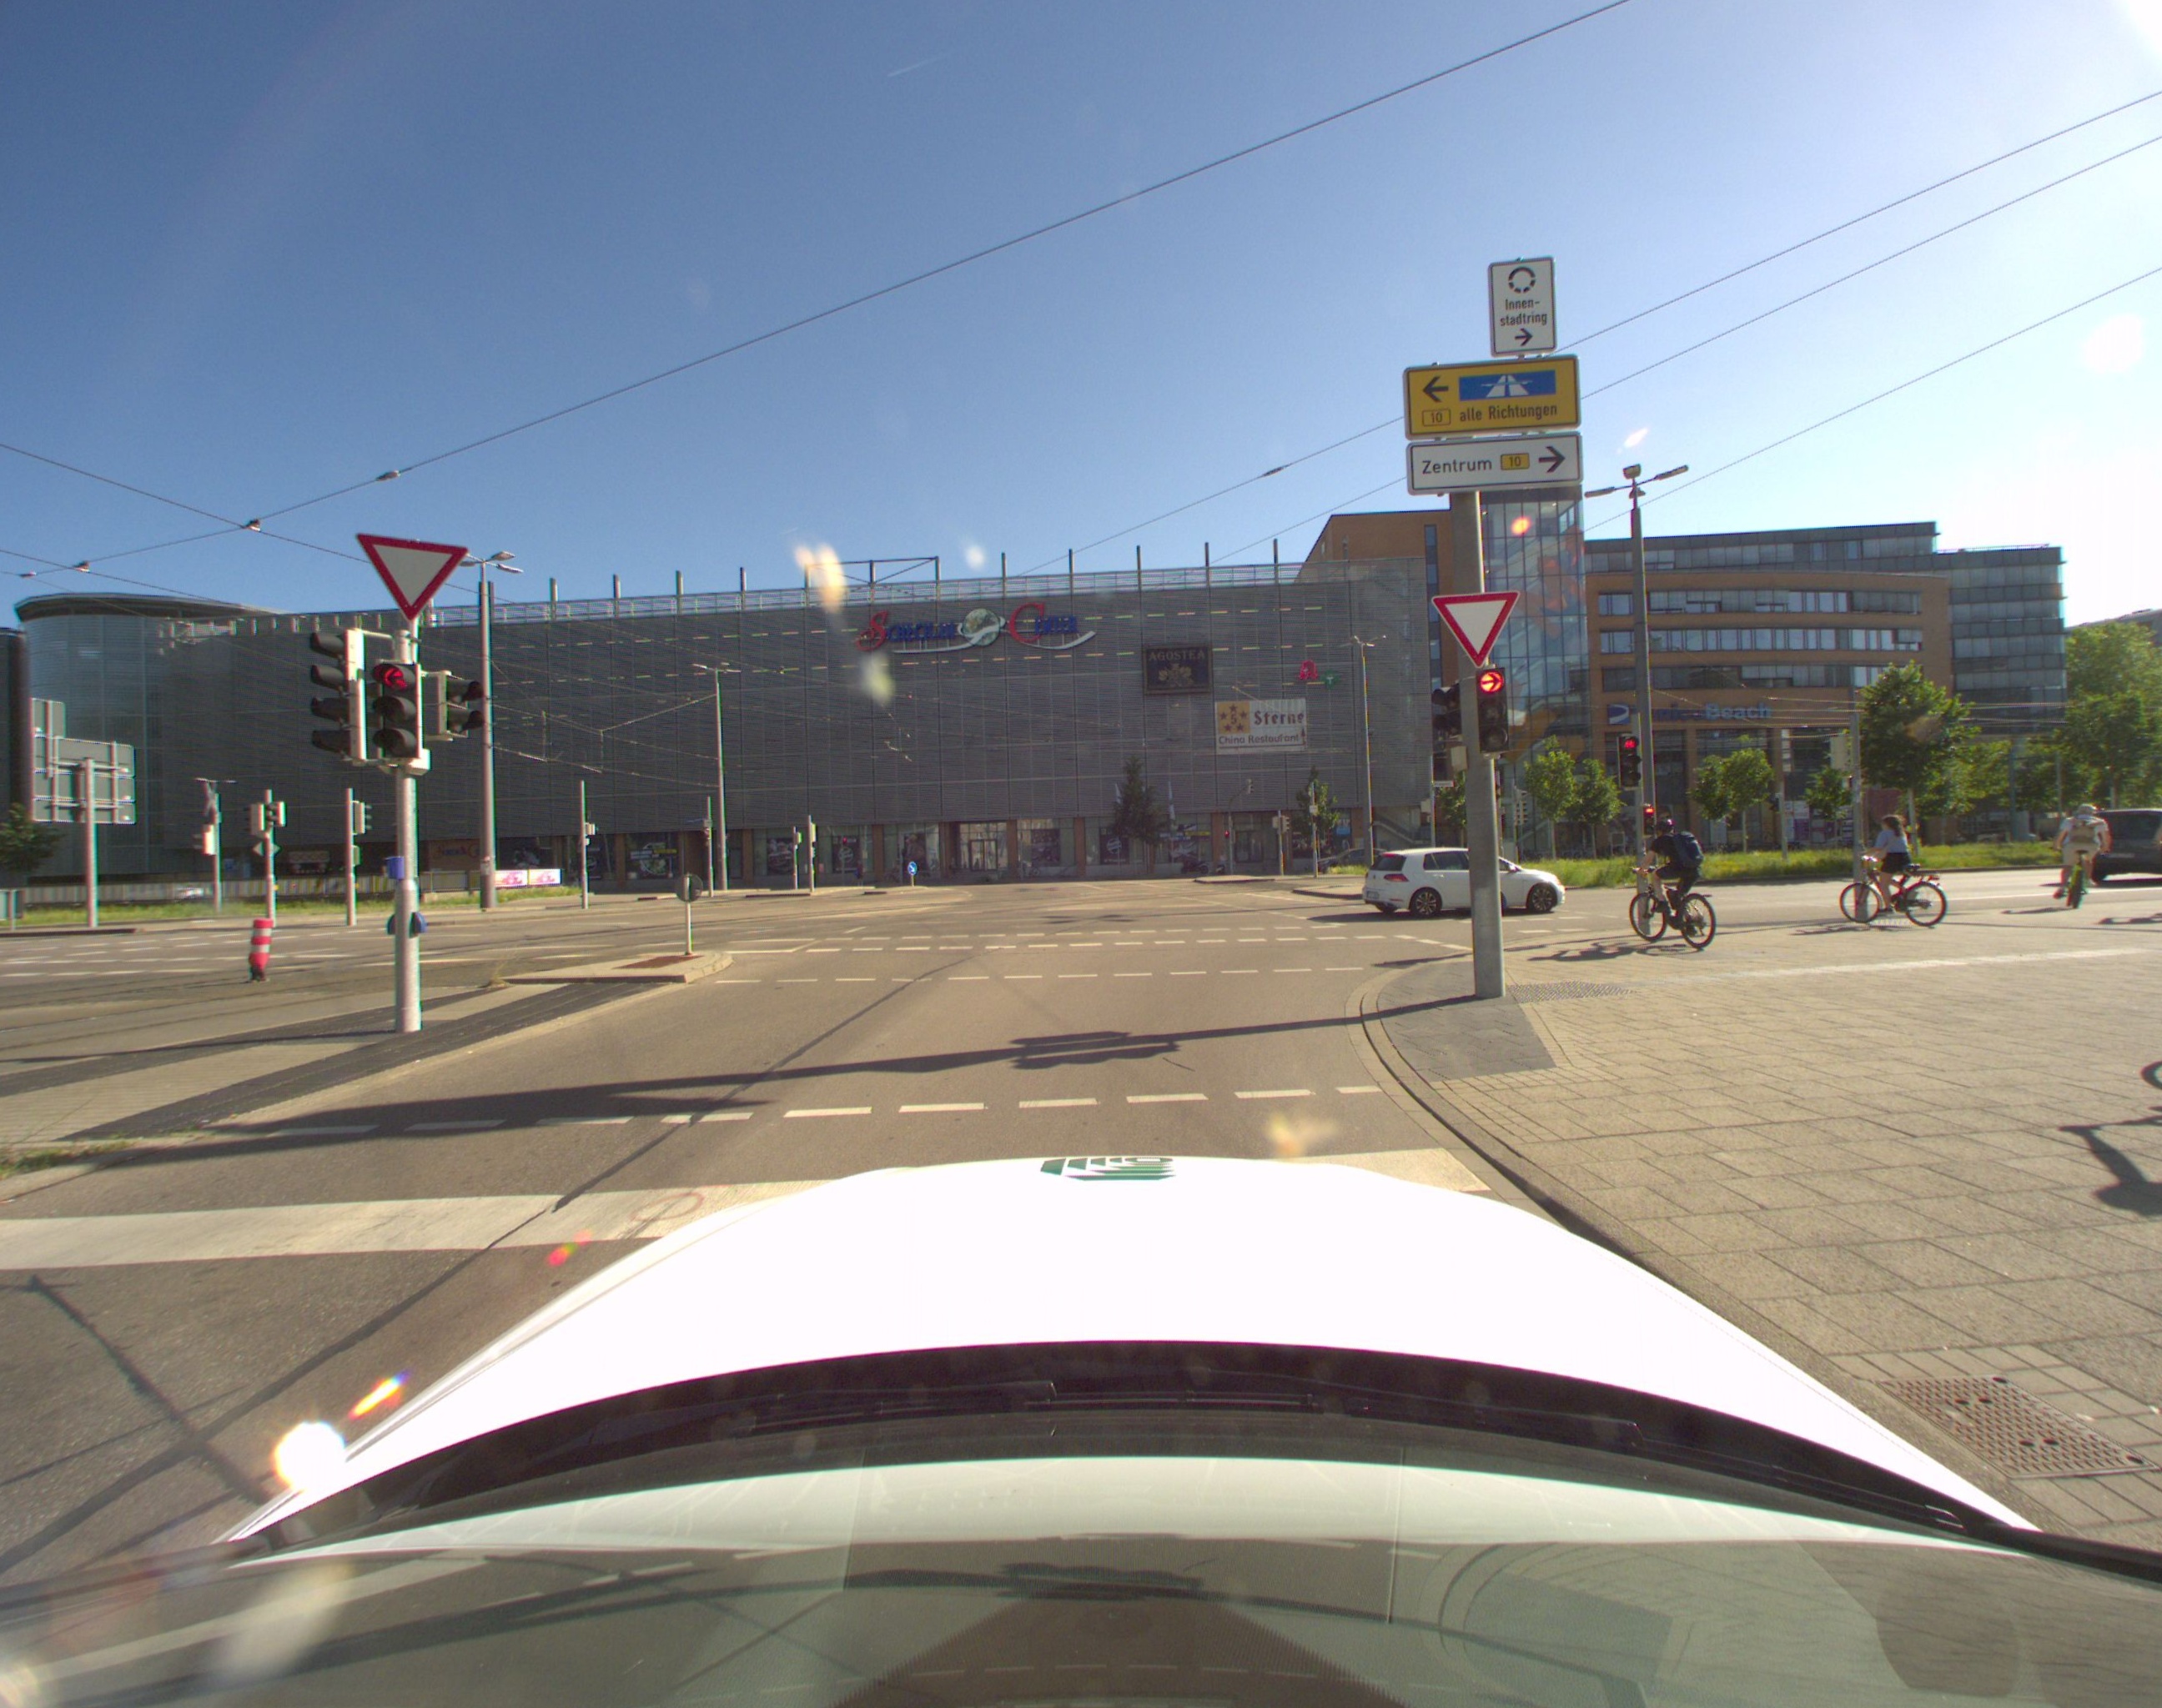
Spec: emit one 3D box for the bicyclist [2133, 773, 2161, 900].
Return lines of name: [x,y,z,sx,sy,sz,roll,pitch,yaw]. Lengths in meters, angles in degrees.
bicyclist: [16.349,-0.270,12.032,0.751,1.866,0.803,-1,-2,-27]

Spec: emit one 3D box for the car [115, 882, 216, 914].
car: [-57.875,2.753,51.523,4.311,1.863,1.841,-1,-1,1]

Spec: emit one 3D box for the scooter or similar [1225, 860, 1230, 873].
scooter or similar: [9.920,0.870,54.998,0.293,0.873,1.007,-1,-1,12]

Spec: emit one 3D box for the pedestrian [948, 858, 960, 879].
pedestrian: [-9.530,1.089,61.191,0.654,1.601,0.597,-1,-1,20]

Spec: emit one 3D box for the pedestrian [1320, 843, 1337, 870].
pedestrian: [17.632,0.209,58.088,0.945,1.829,0.847,-3,-4,7]

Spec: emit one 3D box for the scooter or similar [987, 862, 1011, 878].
scooter or similar: [-6.183,1.206,61.222,1.790,1.066,0.611,-2,1,-6]

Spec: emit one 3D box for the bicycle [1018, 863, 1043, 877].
bicycle: [-3.781,1.176,60.781,1.815,0.989,0.556,-2,1,-8]

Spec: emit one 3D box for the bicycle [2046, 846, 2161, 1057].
bicycle: [6.397,0.556,4.211,0.662,1.197,2.163,-2,0,15]

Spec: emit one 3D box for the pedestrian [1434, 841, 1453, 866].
pedestrian: [26.760,-0.036,60.135,1.022,1.828,1.022,-3,0,33]

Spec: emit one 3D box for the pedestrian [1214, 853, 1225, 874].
pedestrian: [9.405,0.632,55.193,0.650,1.414,0.853,-1,-1,12]

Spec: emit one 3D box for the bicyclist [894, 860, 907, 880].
bicyclist: [-13.051,1.132,59.034,0.750,1.386,0.566,-2,1,1]

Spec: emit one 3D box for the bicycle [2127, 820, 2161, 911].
bicycle: [16.343,0.144,12.012,2.160,1.301,0.752,-1,-1,-29]

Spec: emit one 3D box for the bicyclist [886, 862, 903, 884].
bicyclist: [-12.628,1.277,55.228,0.667,1.427,0.855,-1,2,45]

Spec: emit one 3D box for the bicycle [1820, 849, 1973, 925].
bicycle: [12.606,0.480,12.681,0.663,1.072,1.823,-2,-1,6]

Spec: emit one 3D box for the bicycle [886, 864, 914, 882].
bicycle: [-13.105,1.387,59.056,1.850,1.217,0.569,-2,1,1]

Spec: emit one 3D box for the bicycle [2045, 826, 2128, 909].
bicycle: [17.642,0.278,14.326,1.758,1.328,0.707,5,-6,-43]

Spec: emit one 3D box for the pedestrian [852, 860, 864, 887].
pedestrian: [-15.202,1.314,55.453,0.695,1.797,0.727,-3,0,-14]

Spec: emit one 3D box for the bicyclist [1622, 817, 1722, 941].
bicyclist: [8.191,0.334,11.331,0.627,1.629,0.971,-2,-1,-1]

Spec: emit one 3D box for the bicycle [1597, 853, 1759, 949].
bicycle: [8.205,0.601,11.343,0.634,1.197,2.153,-2,0,-1]

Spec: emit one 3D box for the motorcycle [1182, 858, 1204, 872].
motorcycle: [8.313,0.832,60.586,1.630,1.004,0.448,0,0,8]

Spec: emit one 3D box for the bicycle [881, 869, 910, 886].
bicycle: [-12.585,1.588,55.301,0.562,1.086,1.874,-1,2,45]

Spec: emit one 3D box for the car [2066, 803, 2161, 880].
car: [27.387,-0.353,20.149,4.453,1.791,1.705,-2,0,-7]

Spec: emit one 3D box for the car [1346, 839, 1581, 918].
car: [8.221,0.497,17.705,4.278,1.472,1.861,-2,0,-7]

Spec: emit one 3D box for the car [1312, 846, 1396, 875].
car: [15.255,0.382,45.643,4.132,1.470,1.841,2,-1,0]

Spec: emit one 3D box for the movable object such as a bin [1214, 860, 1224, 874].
movable object such as a bin: [9.272,0.882,54.730,0.608,0.904,0.972,-1,-1,12]

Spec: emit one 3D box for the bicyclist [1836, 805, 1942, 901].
bicyclist: [12.607,0.006,12.743,0.663,1.436,0.941,-2,-3,6]

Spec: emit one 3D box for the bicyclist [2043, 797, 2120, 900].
bicyclist: [17.765,-0.067,14.484,1.100,1.726,0.708,6,-6,-43]
